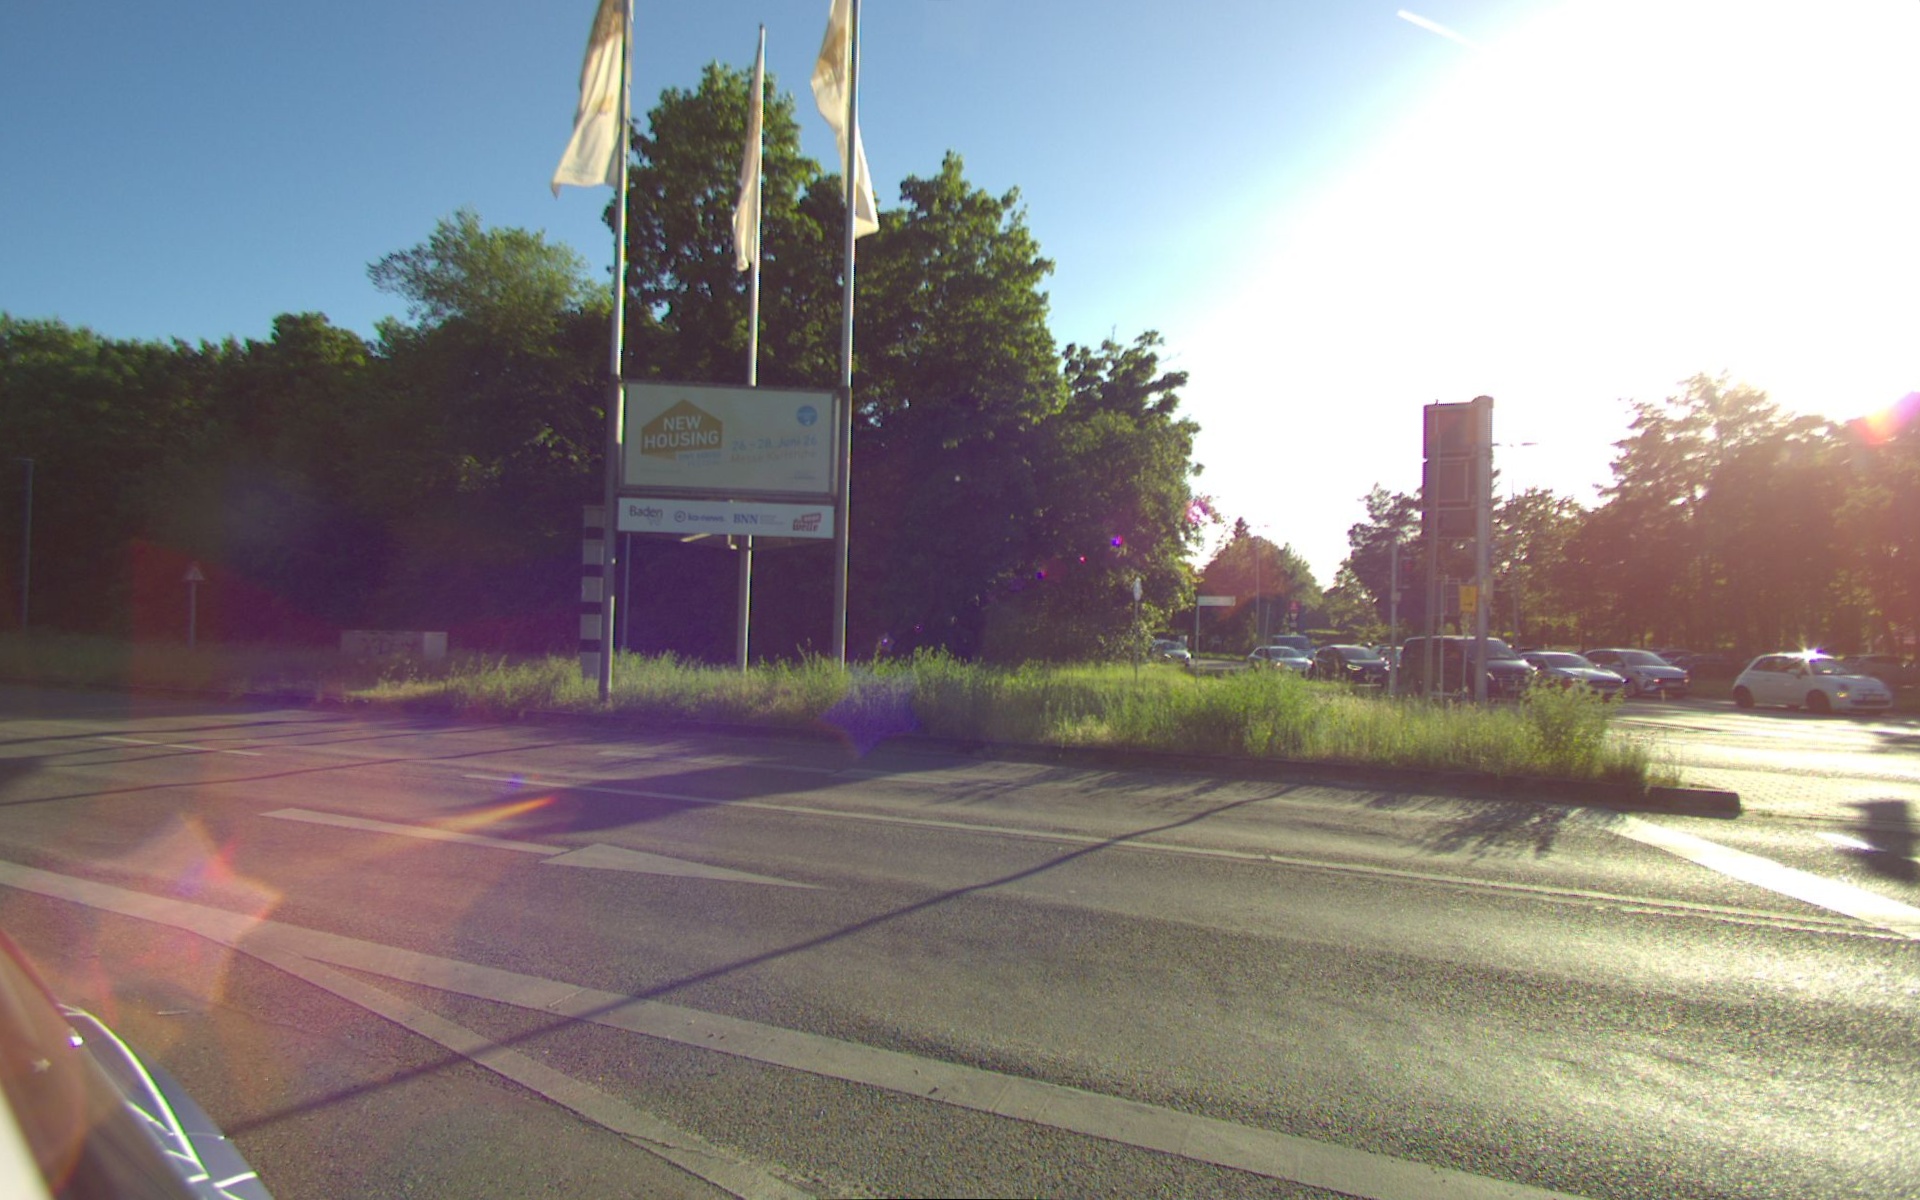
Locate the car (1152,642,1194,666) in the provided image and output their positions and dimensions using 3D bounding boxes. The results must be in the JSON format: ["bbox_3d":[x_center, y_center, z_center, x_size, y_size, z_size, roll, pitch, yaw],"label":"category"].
[{"bbox_3d":[13.765,3.483,65.621,1.827,1.400,3.800,1,-2,-1],"label":"car"}]

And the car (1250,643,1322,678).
[{"bbox_3d":[14.328,2.632,44.697,1.827,1.400,3.800,1,-2,-1],"label":"car"}]

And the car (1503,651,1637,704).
[{"bbox_3d":[18.141,2.263,30.312,1.624,1.400,3.800,1,-2,-1],"label":"car"}]

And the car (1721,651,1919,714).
[{"bbox_3d":[21.805,2.045,25.753,1.901,1.400,3.800,1,-2,-1],"label":"car"}]

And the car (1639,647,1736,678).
[{"bbox_3d":[41.403,3.518,57.676,3.953,1.631,1.938,1,-2,8],"label":"car"}]

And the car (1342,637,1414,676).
[{"bbox_3d":[20.202,2.694,49.089,1.827,1.773,3.800,1,-2,-1],"label":"car"}]

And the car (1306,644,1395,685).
[{"bbox_3d":[14.770,2.406,38.512,1.827,1.400,3.800,1,-2,-1],"label":"car"}]

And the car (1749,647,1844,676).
[{"bbox_3d":[49.712,3.648,60.237,3.929,1.612,1.807,0,-2,12],"label":"car"}]

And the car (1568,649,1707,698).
[{"bbox_3d":[21.681,2.331,32.566,1.827,1.400,3.800,1,-2,-1],"label":"car"}]

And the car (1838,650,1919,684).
[{"bbox_3d":[48.343,3.459,52.252,4.107,1.612,1.807,0,-2,12],"label":"car"}]

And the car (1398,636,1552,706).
[{"bbox_3d":[15.031,2.009,29.915,1.901,1.844,4.935,1,-2,-1],"label":"car"}]

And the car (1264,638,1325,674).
[{"bbox_3d":[17.484,2.890,52.993,1.827,1.773,3.800,1,-2,-1],"label":"car"}]

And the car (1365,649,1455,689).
[{"bbox_3d":[17.831,2.704,40.285,1.827,1.400,3.800,1,-2,-1],"label":"car"}]

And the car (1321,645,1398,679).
[{"bbox_3d":[17.849,2.763,45.409,1.827,1.400,3.800,1,-2,-1],"label":"car"}]

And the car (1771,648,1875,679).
[{"bbox_3d":[47.582,3.489,55.870,3.929,1.612,1.807,0,-2,12],"label":"car"}]

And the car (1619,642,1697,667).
[{"bbox_3d":[47.744,3.695,69.285,3.929,1.612,1.807,0,-2,12],"label":"car"}]
